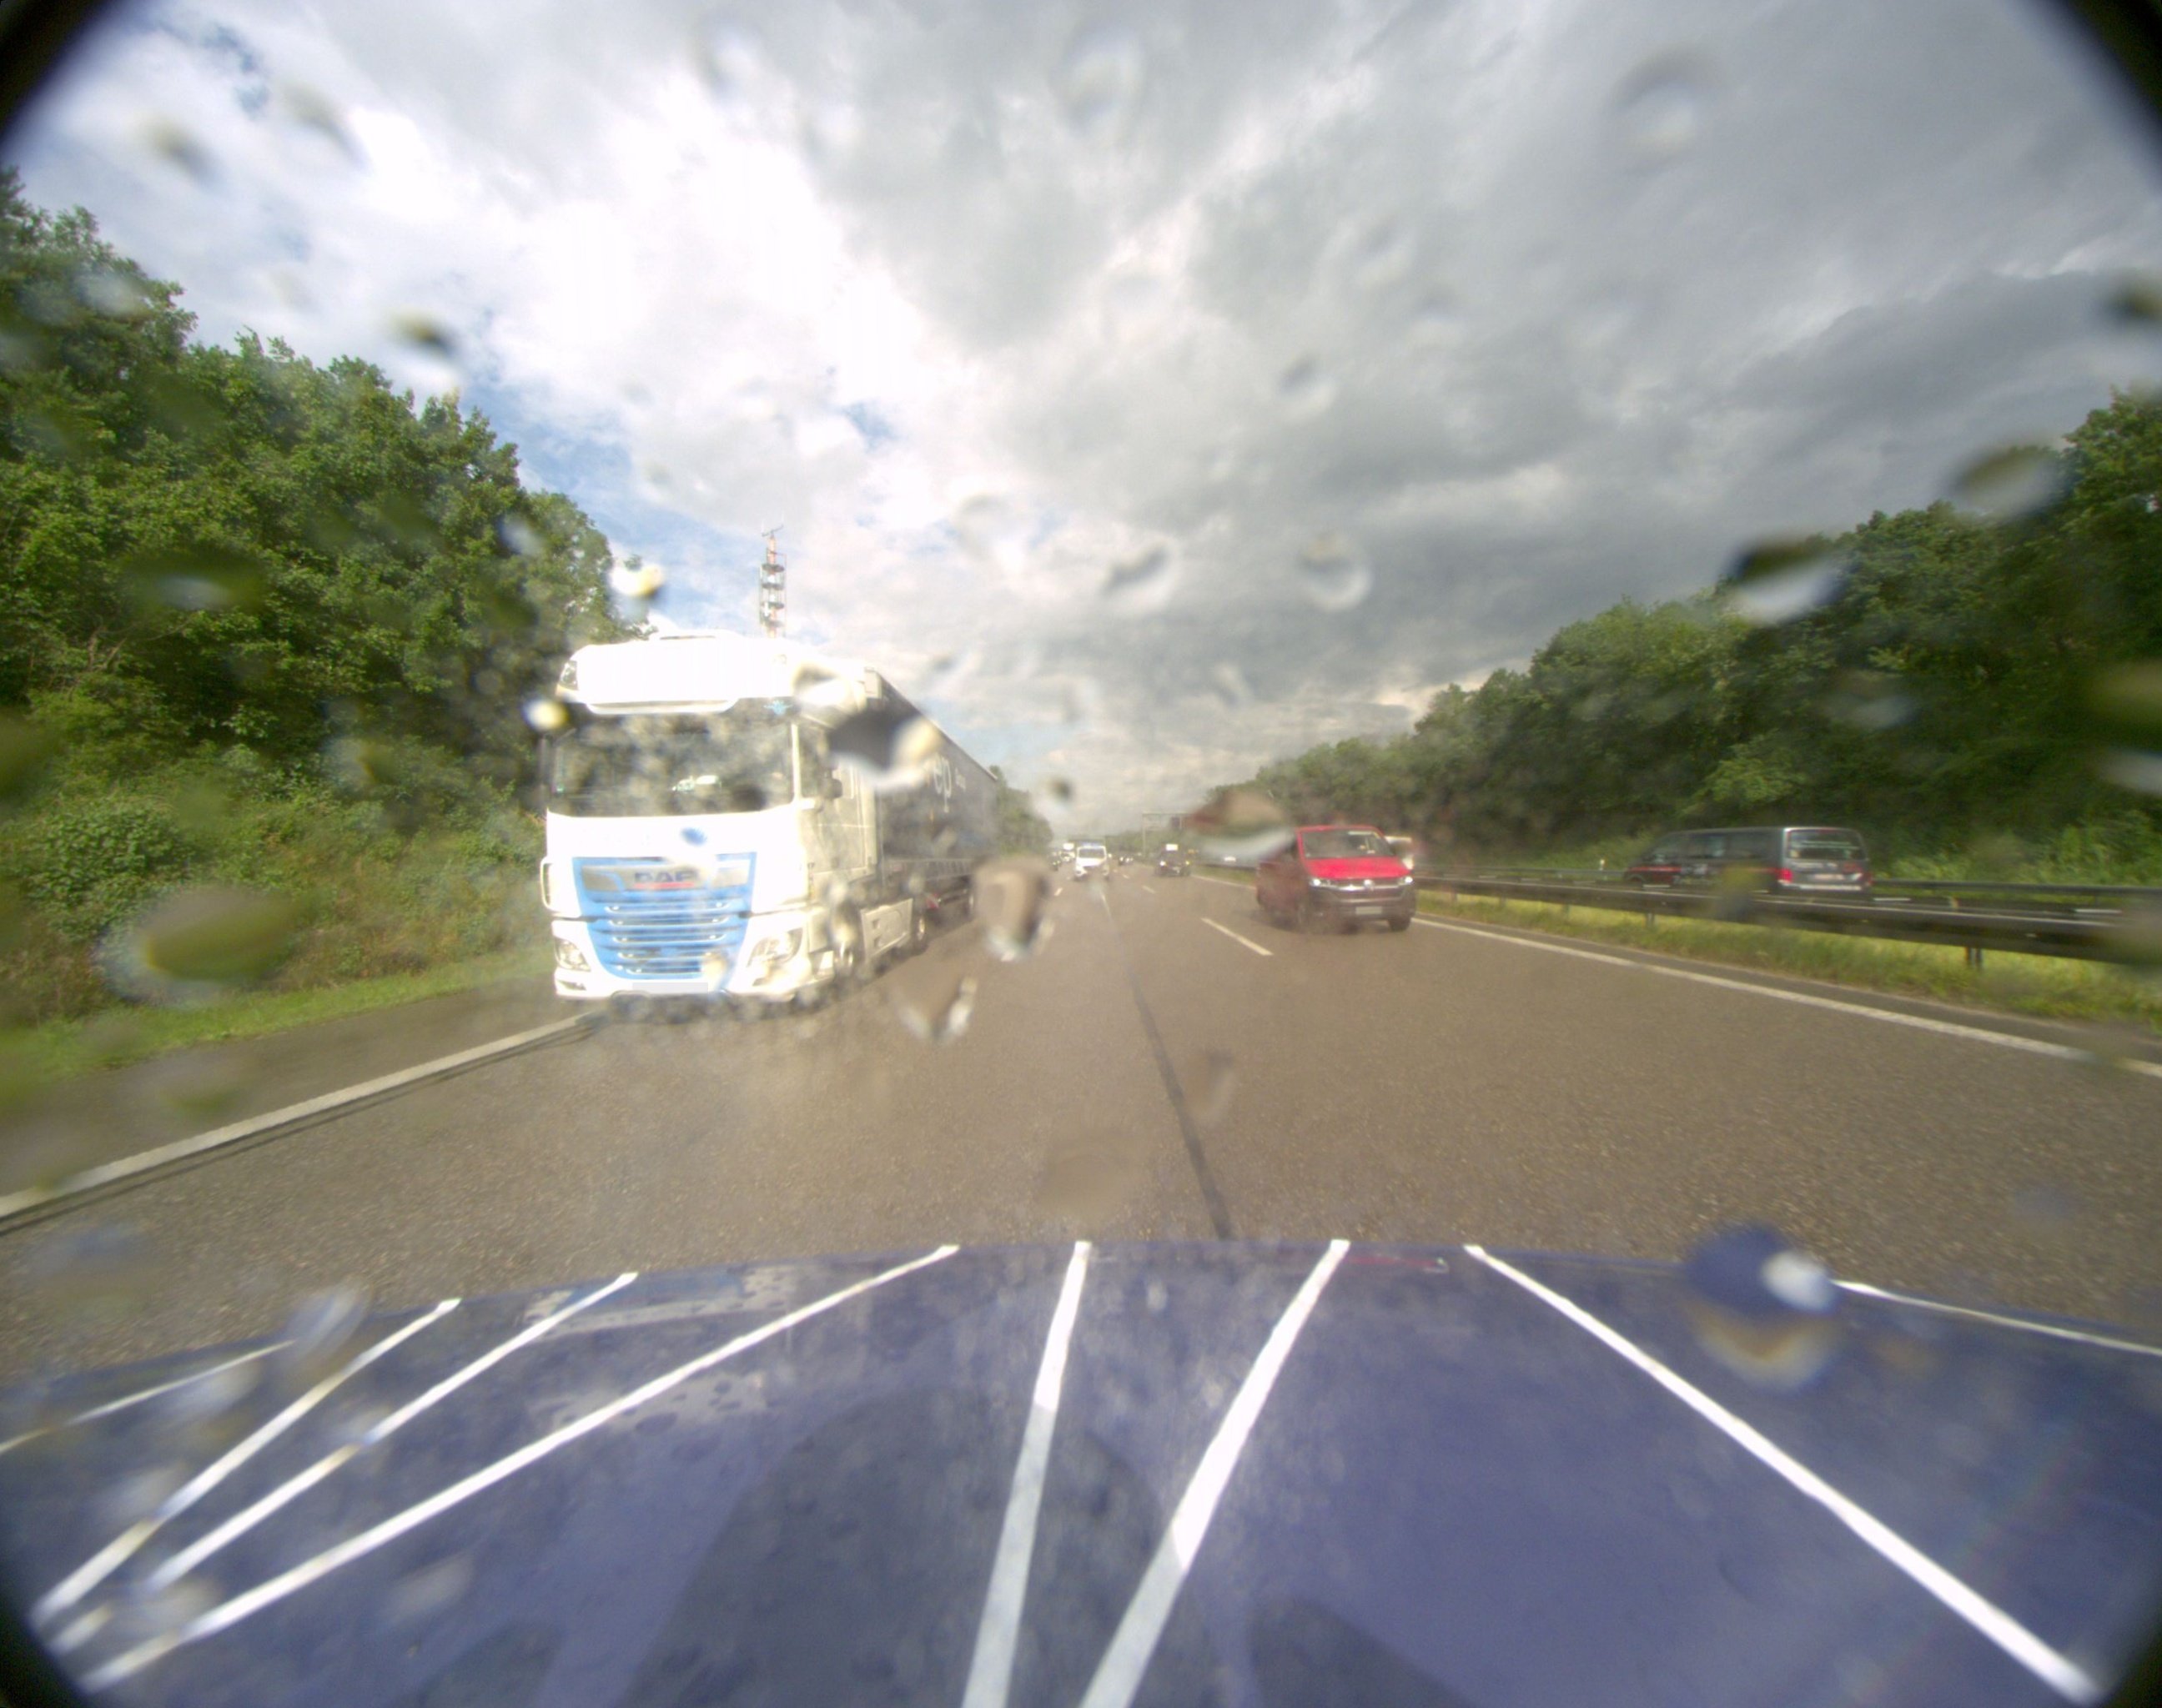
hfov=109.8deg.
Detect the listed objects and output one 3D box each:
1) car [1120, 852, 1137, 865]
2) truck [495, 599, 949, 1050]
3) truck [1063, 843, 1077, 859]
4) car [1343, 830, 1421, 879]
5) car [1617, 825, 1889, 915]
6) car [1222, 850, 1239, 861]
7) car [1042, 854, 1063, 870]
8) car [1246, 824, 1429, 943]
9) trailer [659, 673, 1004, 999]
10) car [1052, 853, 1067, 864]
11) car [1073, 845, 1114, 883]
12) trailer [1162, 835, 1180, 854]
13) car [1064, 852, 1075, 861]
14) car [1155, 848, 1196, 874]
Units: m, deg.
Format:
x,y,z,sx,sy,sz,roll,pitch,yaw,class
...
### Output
x,y,z,sx,sy,sz,roll,pitch,yaw,class
5.954,0.526,95.465,1.799,1.410,4.838,-2,1,1,car
-3.859,-0.285,10.498,2.613,3.973,7.289,-2,1,0,truck
-2.486,-0.680,178.948,3.064,3.827,8.799,-1,0,0,truck
19.378,-0.008,49.341,2.268,2.853,6.930,-2,1,0,car
14.445,0.279,16.795,1.850,1.653,4.661,-2,1,0,car
22.767,0.228,115.963,1.736,1.653,4.235,-2,1,0,car
-2.783,0.742,75.413,1.799,1.410,4.838,-2,1,1,car
4.703,0.459,14.791,1.926,1.855,4.838,-2,1,1,car
-3.812,-0.286,16.526,2.641,3.972,14.062,-2,1,0,trailer
-2.876,0.598,102.795,1.799,1.410,4.838,-2,1,1,car
0.734,0.506,43.834,2.124,1.988,5.982,-2,1,1,car
22.864,-2.402,193.405,2.870,4.347,14.090,-2,1,0,trailer
-2.073,0.404,136.841,1.799,1.410,4.838,-2,1,1,car
5.825,0.379,47.472,2.009,1.488,4.838,-2,1,1,car
